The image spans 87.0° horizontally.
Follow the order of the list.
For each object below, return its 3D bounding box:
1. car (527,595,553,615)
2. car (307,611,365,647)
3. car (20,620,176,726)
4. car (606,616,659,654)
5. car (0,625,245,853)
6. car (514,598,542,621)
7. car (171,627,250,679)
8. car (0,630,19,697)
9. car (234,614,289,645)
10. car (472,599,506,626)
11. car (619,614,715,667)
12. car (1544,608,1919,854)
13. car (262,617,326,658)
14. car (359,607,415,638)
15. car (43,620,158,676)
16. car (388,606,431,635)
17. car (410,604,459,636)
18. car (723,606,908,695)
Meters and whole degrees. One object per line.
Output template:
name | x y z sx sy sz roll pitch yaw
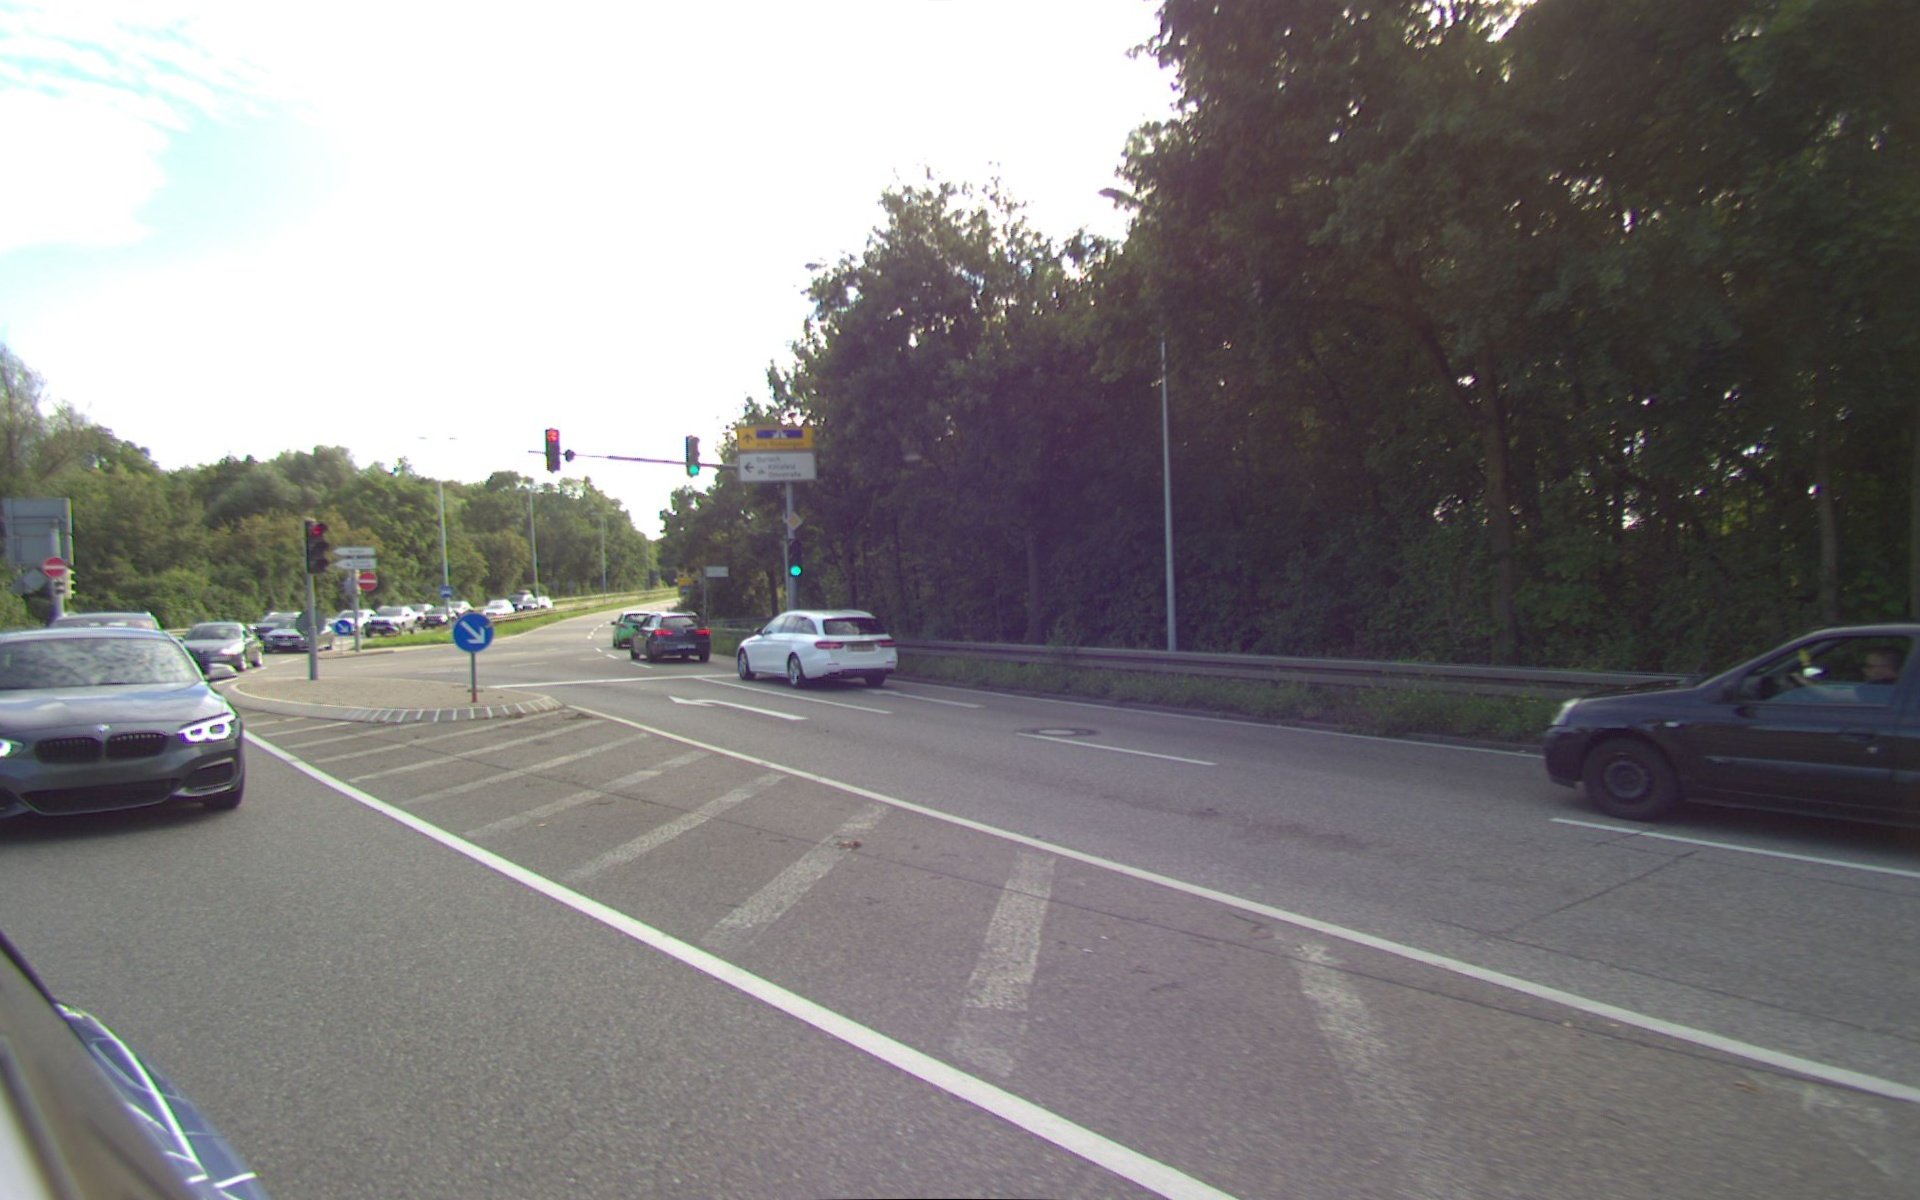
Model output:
car | -45.924 0.549 110.653 1.967 2.029 4.010 -1 0 -13
car | -36.866 1.662 59.892 1.966 2.029 4.012 -1 0 -17
car | -14.382 1.114 17.050 1.791 1.518 4.399 0 -1 -38
car | -13.125 1.361 40.424 1.613 1.415 3.753 -1 -1 -24
car | -7.085 0.926 8.165 1.760 1.415 3.976 0 -1 -41
car | -39.833 0.887 93.379 1.966 2.029 4.012 -1 0 -17
car | -21.839 1.499 29.443 1.665 1.333 3.791 -1 0 -39
car | -20.874 1.347 20.580 1.789 1.415 4.403 -1 -1 -33
car | -34.616 1.439 50.238 1.613 1.415 3.753 -1 -1 -24
car | -37.903 0.993 81.523 1.966 2.029 4.012 -1 0 -18
car | -8.724 1.143 29.899 1.789 1.415 4.405 -1 -1 -29
car | 6.000 0.743 6.275 1.604 1.376 3.780 0 -1 -39
car | -27.358 1.509 41.655 1.613 1.564 3.753 -1 -1 -24
car | -32.344 1.246 57.216 1.966 1.612 4.294 -1 0 -18
car | -27.147 1.452 32.105 1.965 1.564 4.013 -1 0 -28
car | -39.725 1.445 73.159 1.966 2.029 4.012 -1 0 -17
car | -35.358 1.330 68.199 1.966 2.029 4.284 -1 0 -15
car | -3.044 0.937 20.331 1.789 1.532 4.839 -1 -1 -33
